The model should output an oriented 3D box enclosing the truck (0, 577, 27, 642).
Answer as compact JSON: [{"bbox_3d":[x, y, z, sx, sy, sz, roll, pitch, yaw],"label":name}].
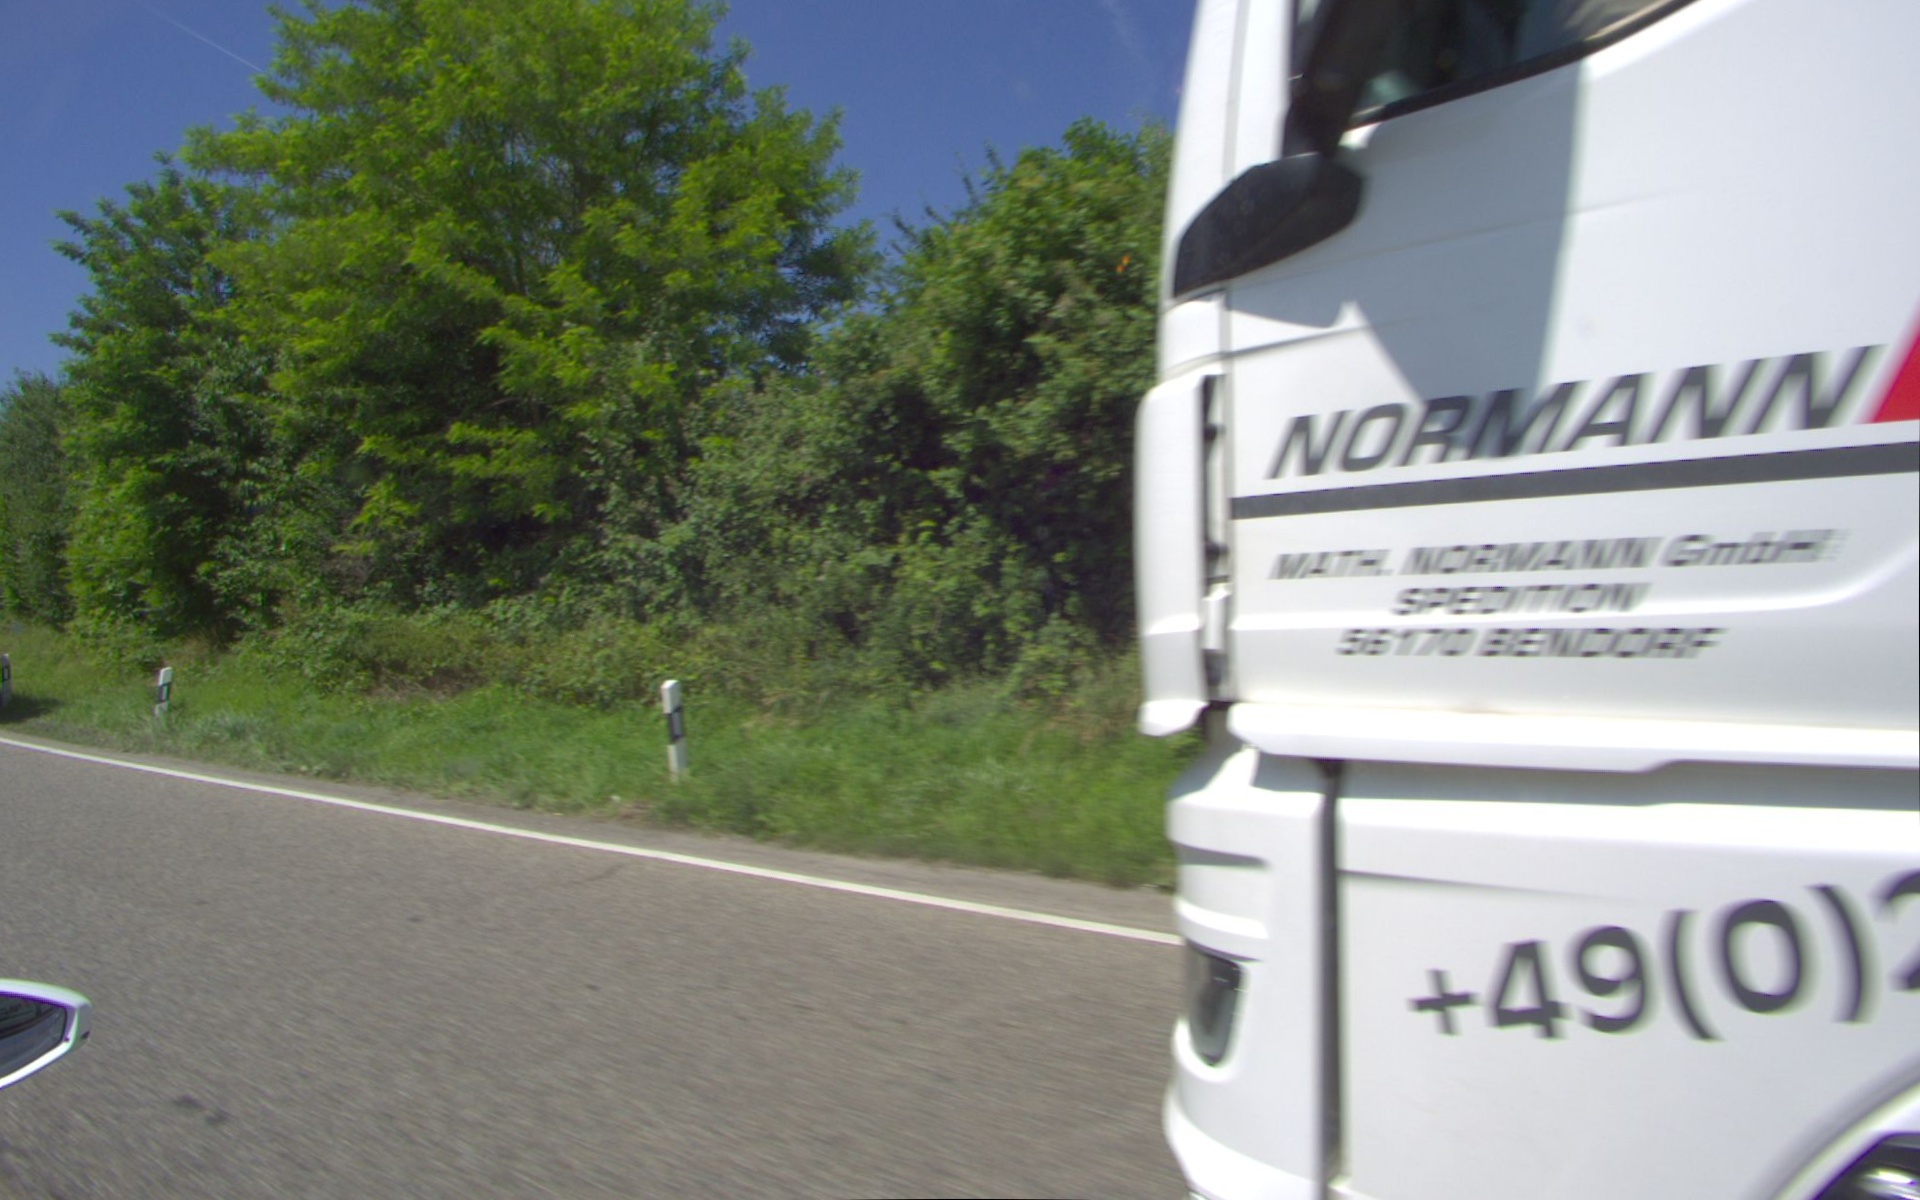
[{"bbox_3d":[-59.978,0.631,62.100,2.900,3.766,13.234,-2,1,-42],"label":"truck"}]
